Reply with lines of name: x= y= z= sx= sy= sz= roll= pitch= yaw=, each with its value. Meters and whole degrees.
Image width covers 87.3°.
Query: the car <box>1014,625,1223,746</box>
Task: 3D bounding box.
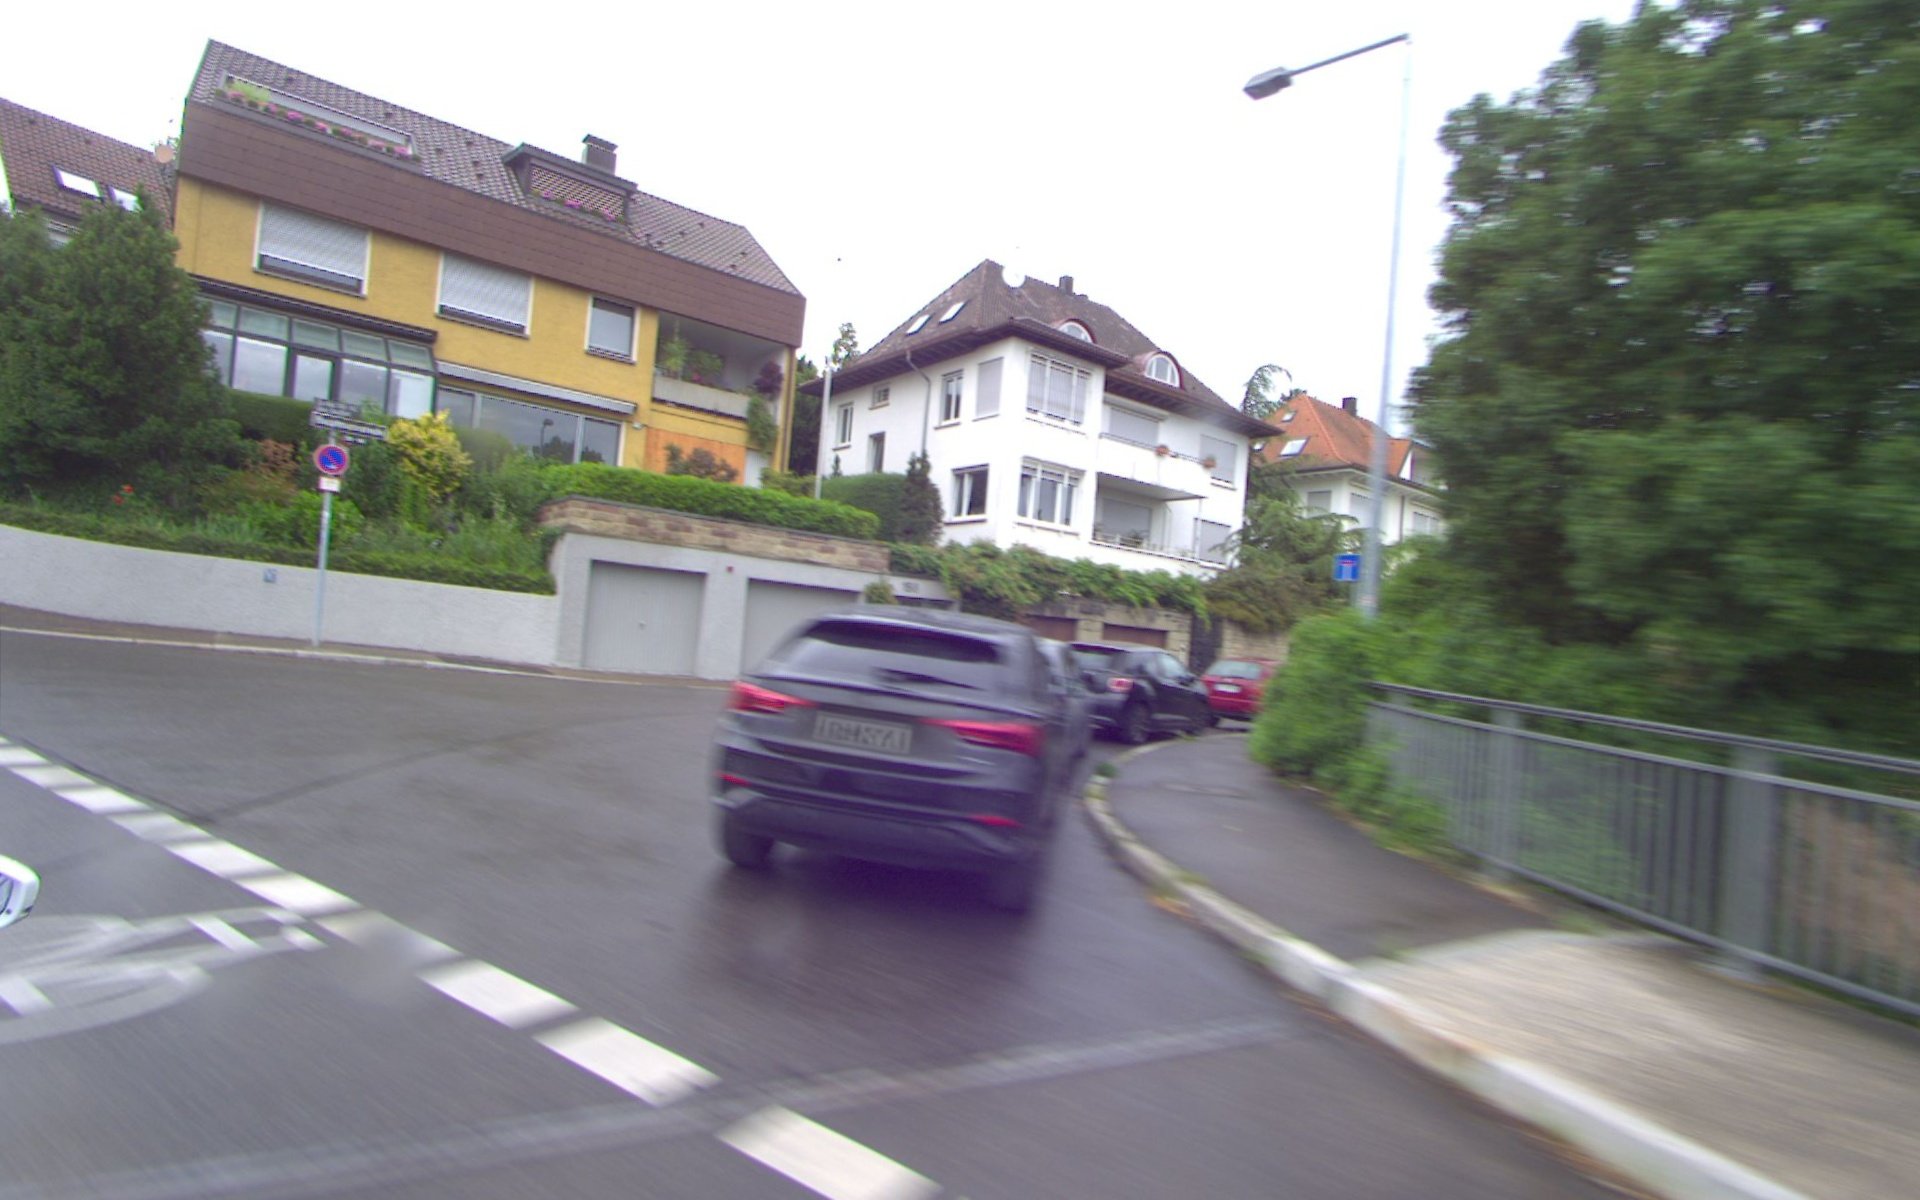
car: x=2.645 y=1.348 z=16.121 sx=1.812 sy=1.507 sz=3.592 roll=7 pitch=0 yaw=34

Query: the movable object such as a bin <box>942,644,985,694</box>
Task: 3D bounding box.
movable object such as a bin: x=0.086 y=1.552 z=22.748 sx=0.674 sy=1.031 sz=0.529 roll=7 pitch=0 yaw=31

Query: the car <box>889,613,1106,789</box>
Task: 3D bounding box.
car: x=0.627 y=1.038 z=11.473 sx=1.767 sy=1.442 sz=4.061 roll=6 pitch=-2 yaw=11

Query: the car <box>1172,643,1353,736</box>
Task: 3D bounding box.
car: x=6.080 y=1.810 z=20.058 sx=3.577 sy=1.506 sz=1.744 roll=7 pitch=-2 yaw=-41

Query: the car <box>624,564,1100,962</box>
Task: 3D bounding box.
car: x=-0.207 y=0.822 z=6.741 sx=1.962 sy=1.540 sz=4.206 roll=8 pitch=-1 yaw=10
